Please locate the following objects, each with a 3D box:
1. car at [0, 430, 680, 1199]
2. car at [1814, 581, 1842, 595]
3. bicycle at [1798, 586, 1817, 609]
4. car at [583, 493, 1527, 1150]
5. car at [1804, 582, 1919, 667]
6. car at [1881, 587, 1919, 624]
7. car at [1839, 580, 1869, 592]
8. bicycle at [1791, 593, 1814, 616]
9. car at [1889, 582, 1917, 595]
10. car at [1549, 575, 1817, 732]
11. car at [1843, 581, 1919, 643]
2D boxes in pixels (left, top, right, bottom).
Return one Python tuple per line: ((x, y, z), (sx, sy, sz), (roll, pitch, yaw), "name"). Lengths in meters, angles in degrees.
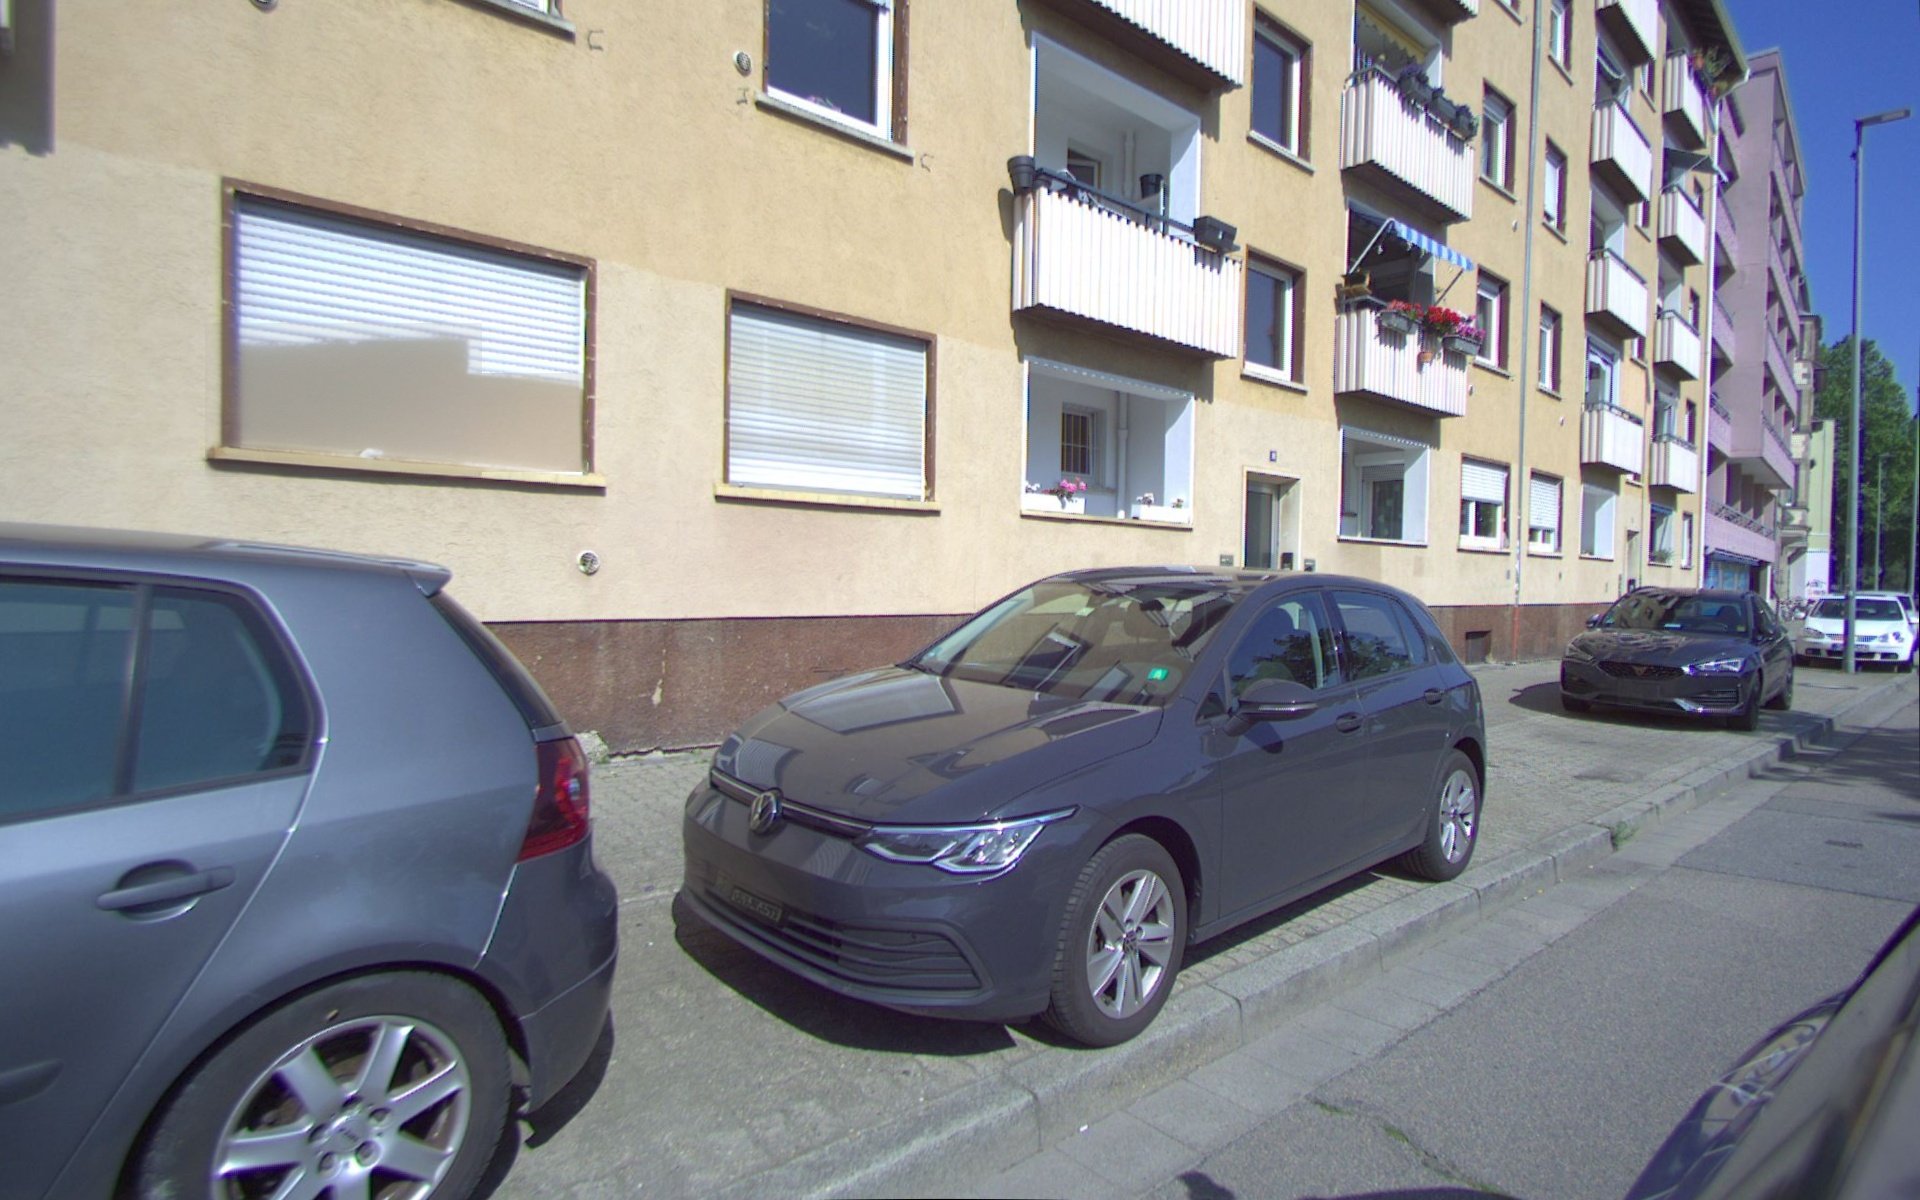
((-2.678, 0.482, 1.548), (4.025, 1.533, 1.704), (0, 2, -45), "car")
((119.927, -1.629, 139.804), (1.981, 1.914, 3.963), (1, 2, 27), "car")
((43.764, -0.148, 52.284), (0.654, 1.160, 1.603), (4, 3, 39), "bicycle")
((0.784, 0.466, 4.348), (4.185, 1.480, 1.712), (0, 2, -44), "car")
((18.534, 0.431, 20.523), (4.060, 1.524, 1.758), (0, 2, -44), "car")
((41.272, 0.225, 43.934), (1.785, 1.500, 3.938), (3, 3, 43), "car")
((117.453, -1.835, 133.007), (1.783, 1.538, 3.933), (2, 2, 23), "car")
((38.234, 0.208, 45.927), (0.650, 0.982, 1.835), (2, 2, 43), "bicycle")
((120.824, -1.482, 129.708), (1.631, 1.519, 3.615), (3, 2, 27), "car")
((8.579, 0.476, 11.838), (4.515, 1.456, 1.802), (-1, 2, -45), "car")
((25.752, 0.295, 27.923), (4.282, 1.560, 1.738), (-1, 2, -44), "car")
